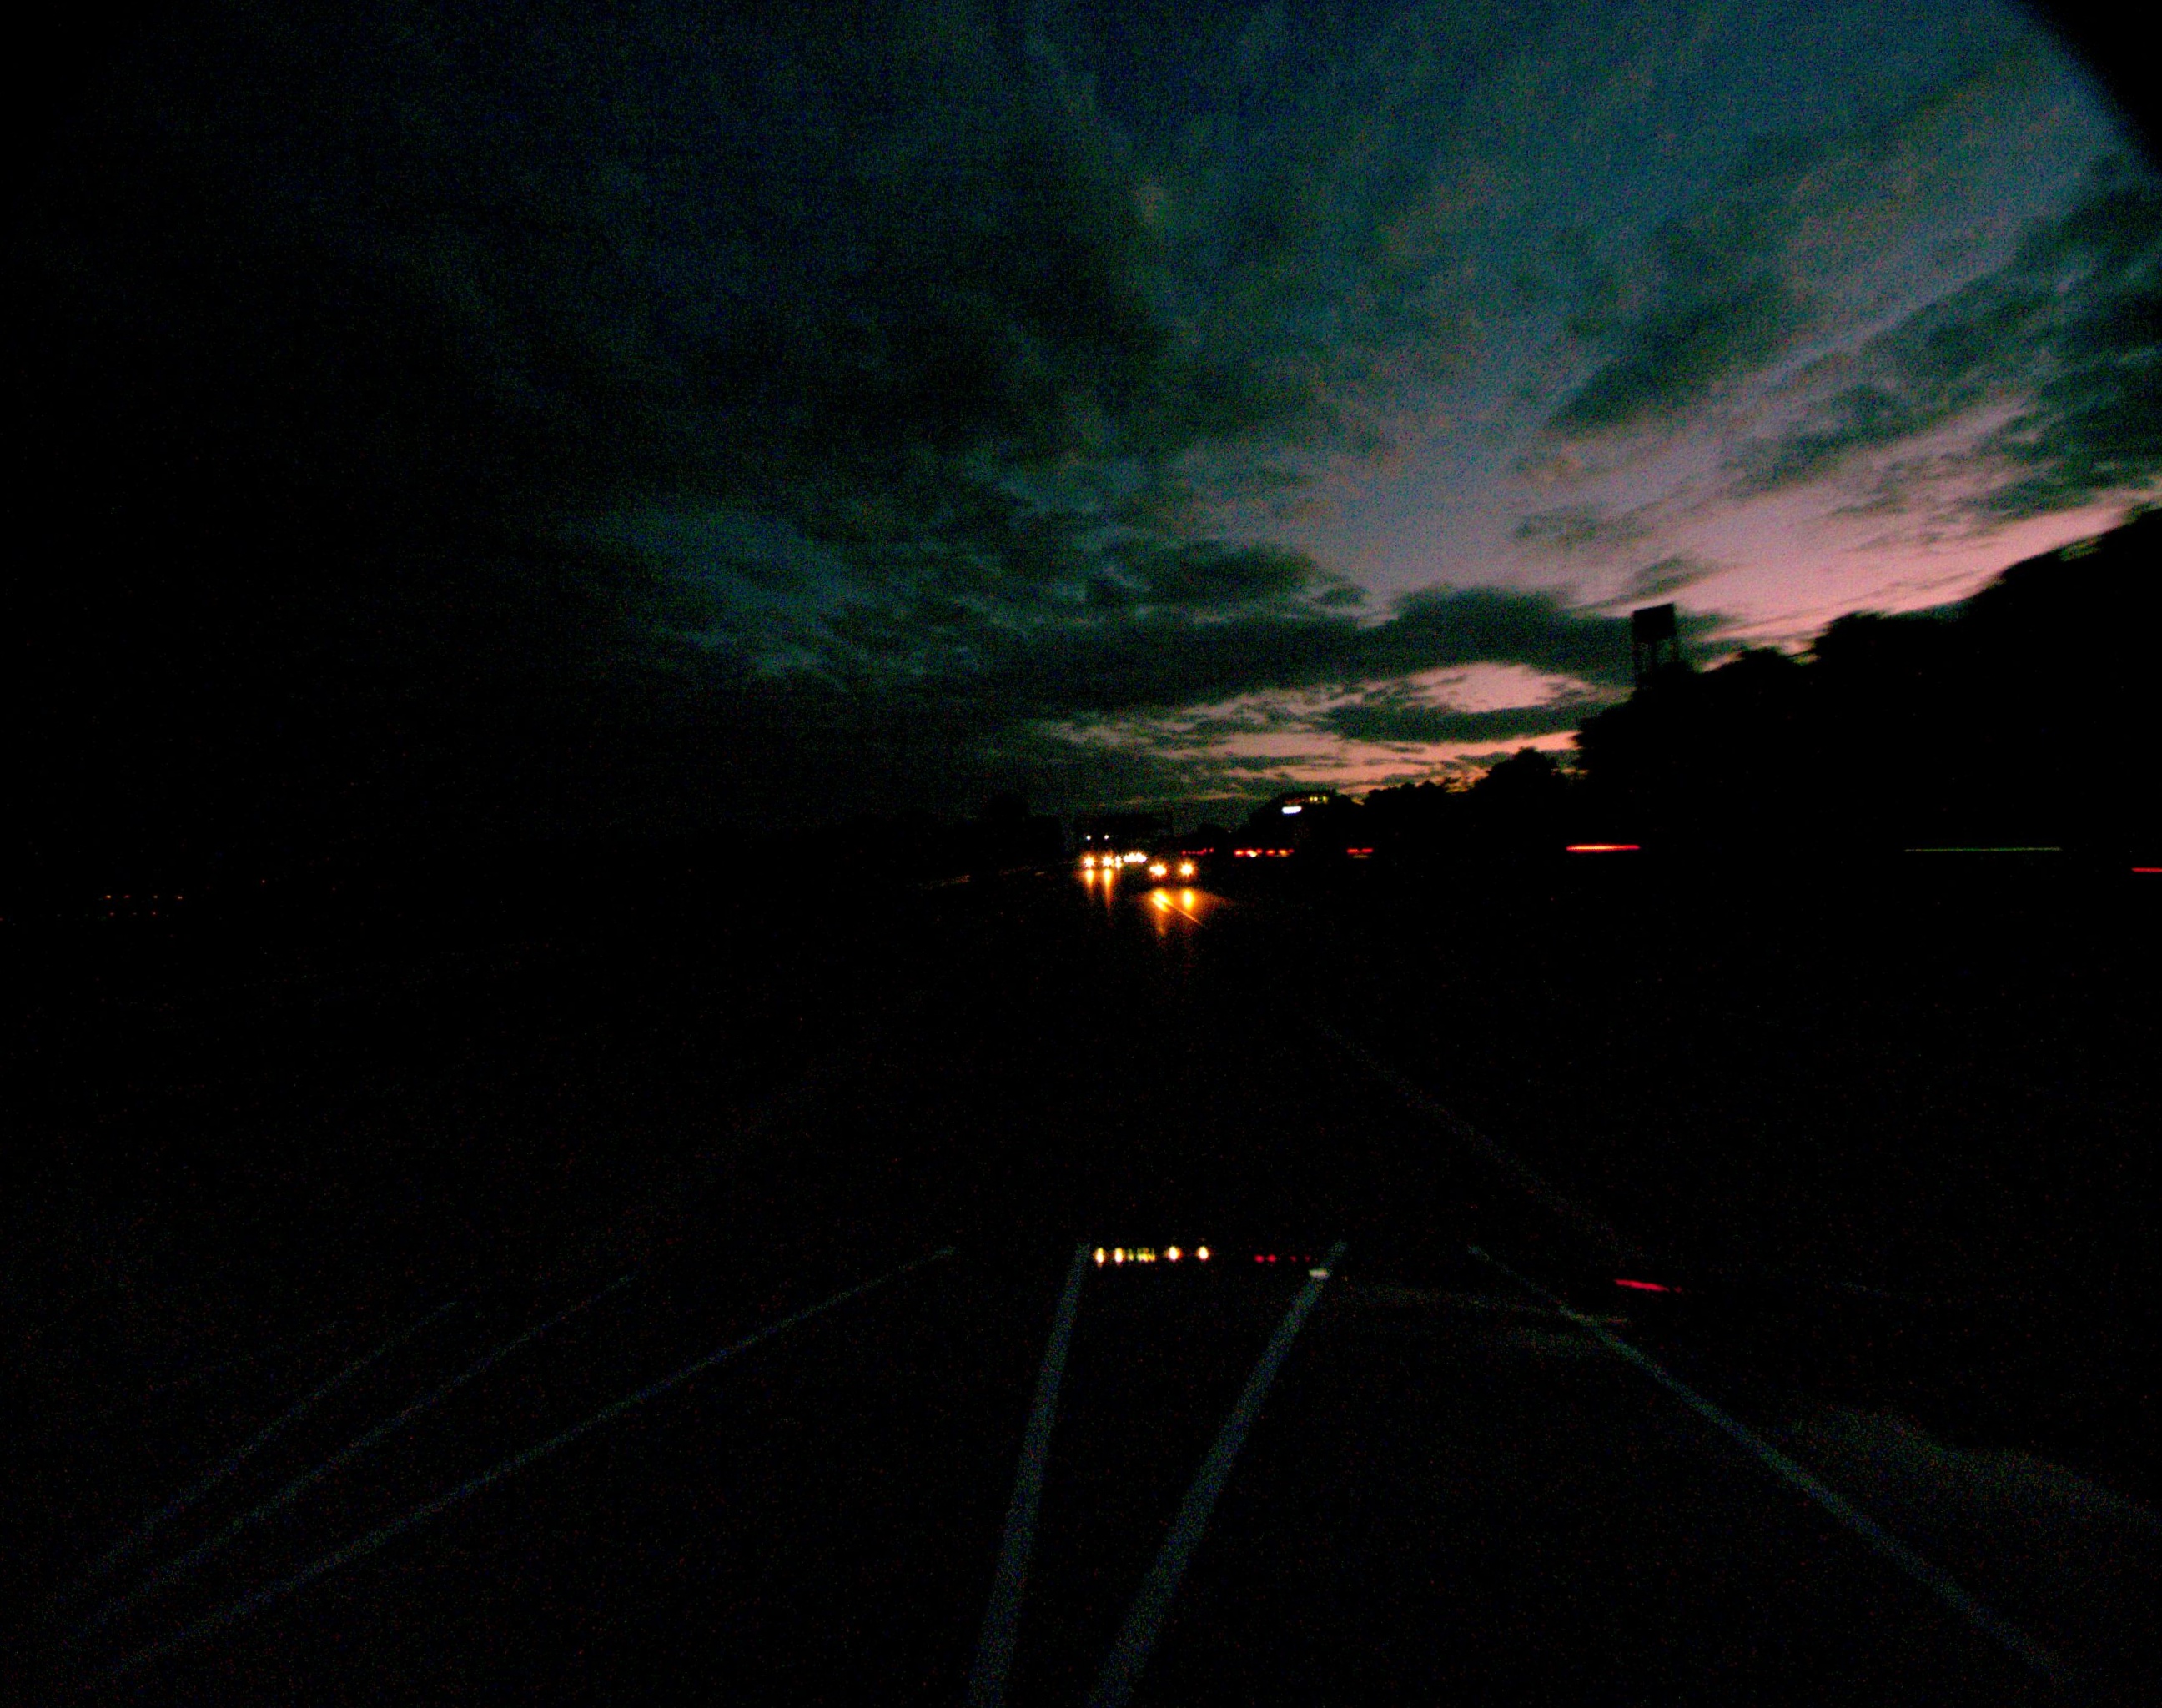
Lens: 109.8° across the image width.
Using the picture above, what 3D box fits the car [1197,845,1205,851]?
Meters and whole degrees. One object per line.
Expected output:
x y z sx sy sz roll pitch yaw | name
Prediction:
39.481 -1.958 249.194 1.998 2.002 4.000 -2 1 2 | car

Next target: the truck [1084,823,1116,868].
2.008 -0.933 82.132 3.026 4.372 11.614 -2 1 1 | truck

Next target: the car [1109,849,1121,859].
5.902 -0.016 132.077 1.998 1.715 4.000 -2 1 3 | car

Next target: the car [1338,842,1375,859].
25.406 -0.357 70.156 1.998 1.451 4.236 -2 1 2 | car

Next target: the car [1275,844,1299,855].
28.198 -0.615 104.104 1.998 1.393 5.023 -2 1 2 | car

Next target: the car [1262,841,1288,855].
22.704 -0.734 89.052 1.998 1.496 4.558 -2 1 2 | car

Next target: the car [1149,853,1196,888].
4.223 0.723 35.591 1.717 1.471 4.000 -2 1 1 | car

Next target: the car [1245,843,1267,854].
24.284 -0.788 105.492 1.998 1.464 5.023 -2 1 2 | car

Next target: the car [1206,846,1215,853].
36.086 -1.370 211.897 1.792 1.799 4.582 -2 1 4 | car

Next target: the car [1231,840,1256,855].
19.901 -0.783 93.241 1.998 1.725 5.050 -2 1 2 | car

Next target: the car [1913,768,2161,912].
19.384 -0.286 13.132 2.331 2.417 7.094 -2 1 1 | car

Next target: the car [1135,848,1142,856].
13.381 -0.432 177.136 1.653 1.654 3.775 -2 1 3 | car

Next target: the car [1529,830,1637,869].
24.135 -0.256 36.802 1.998 1.683 4.970 -2 1 1 | car
